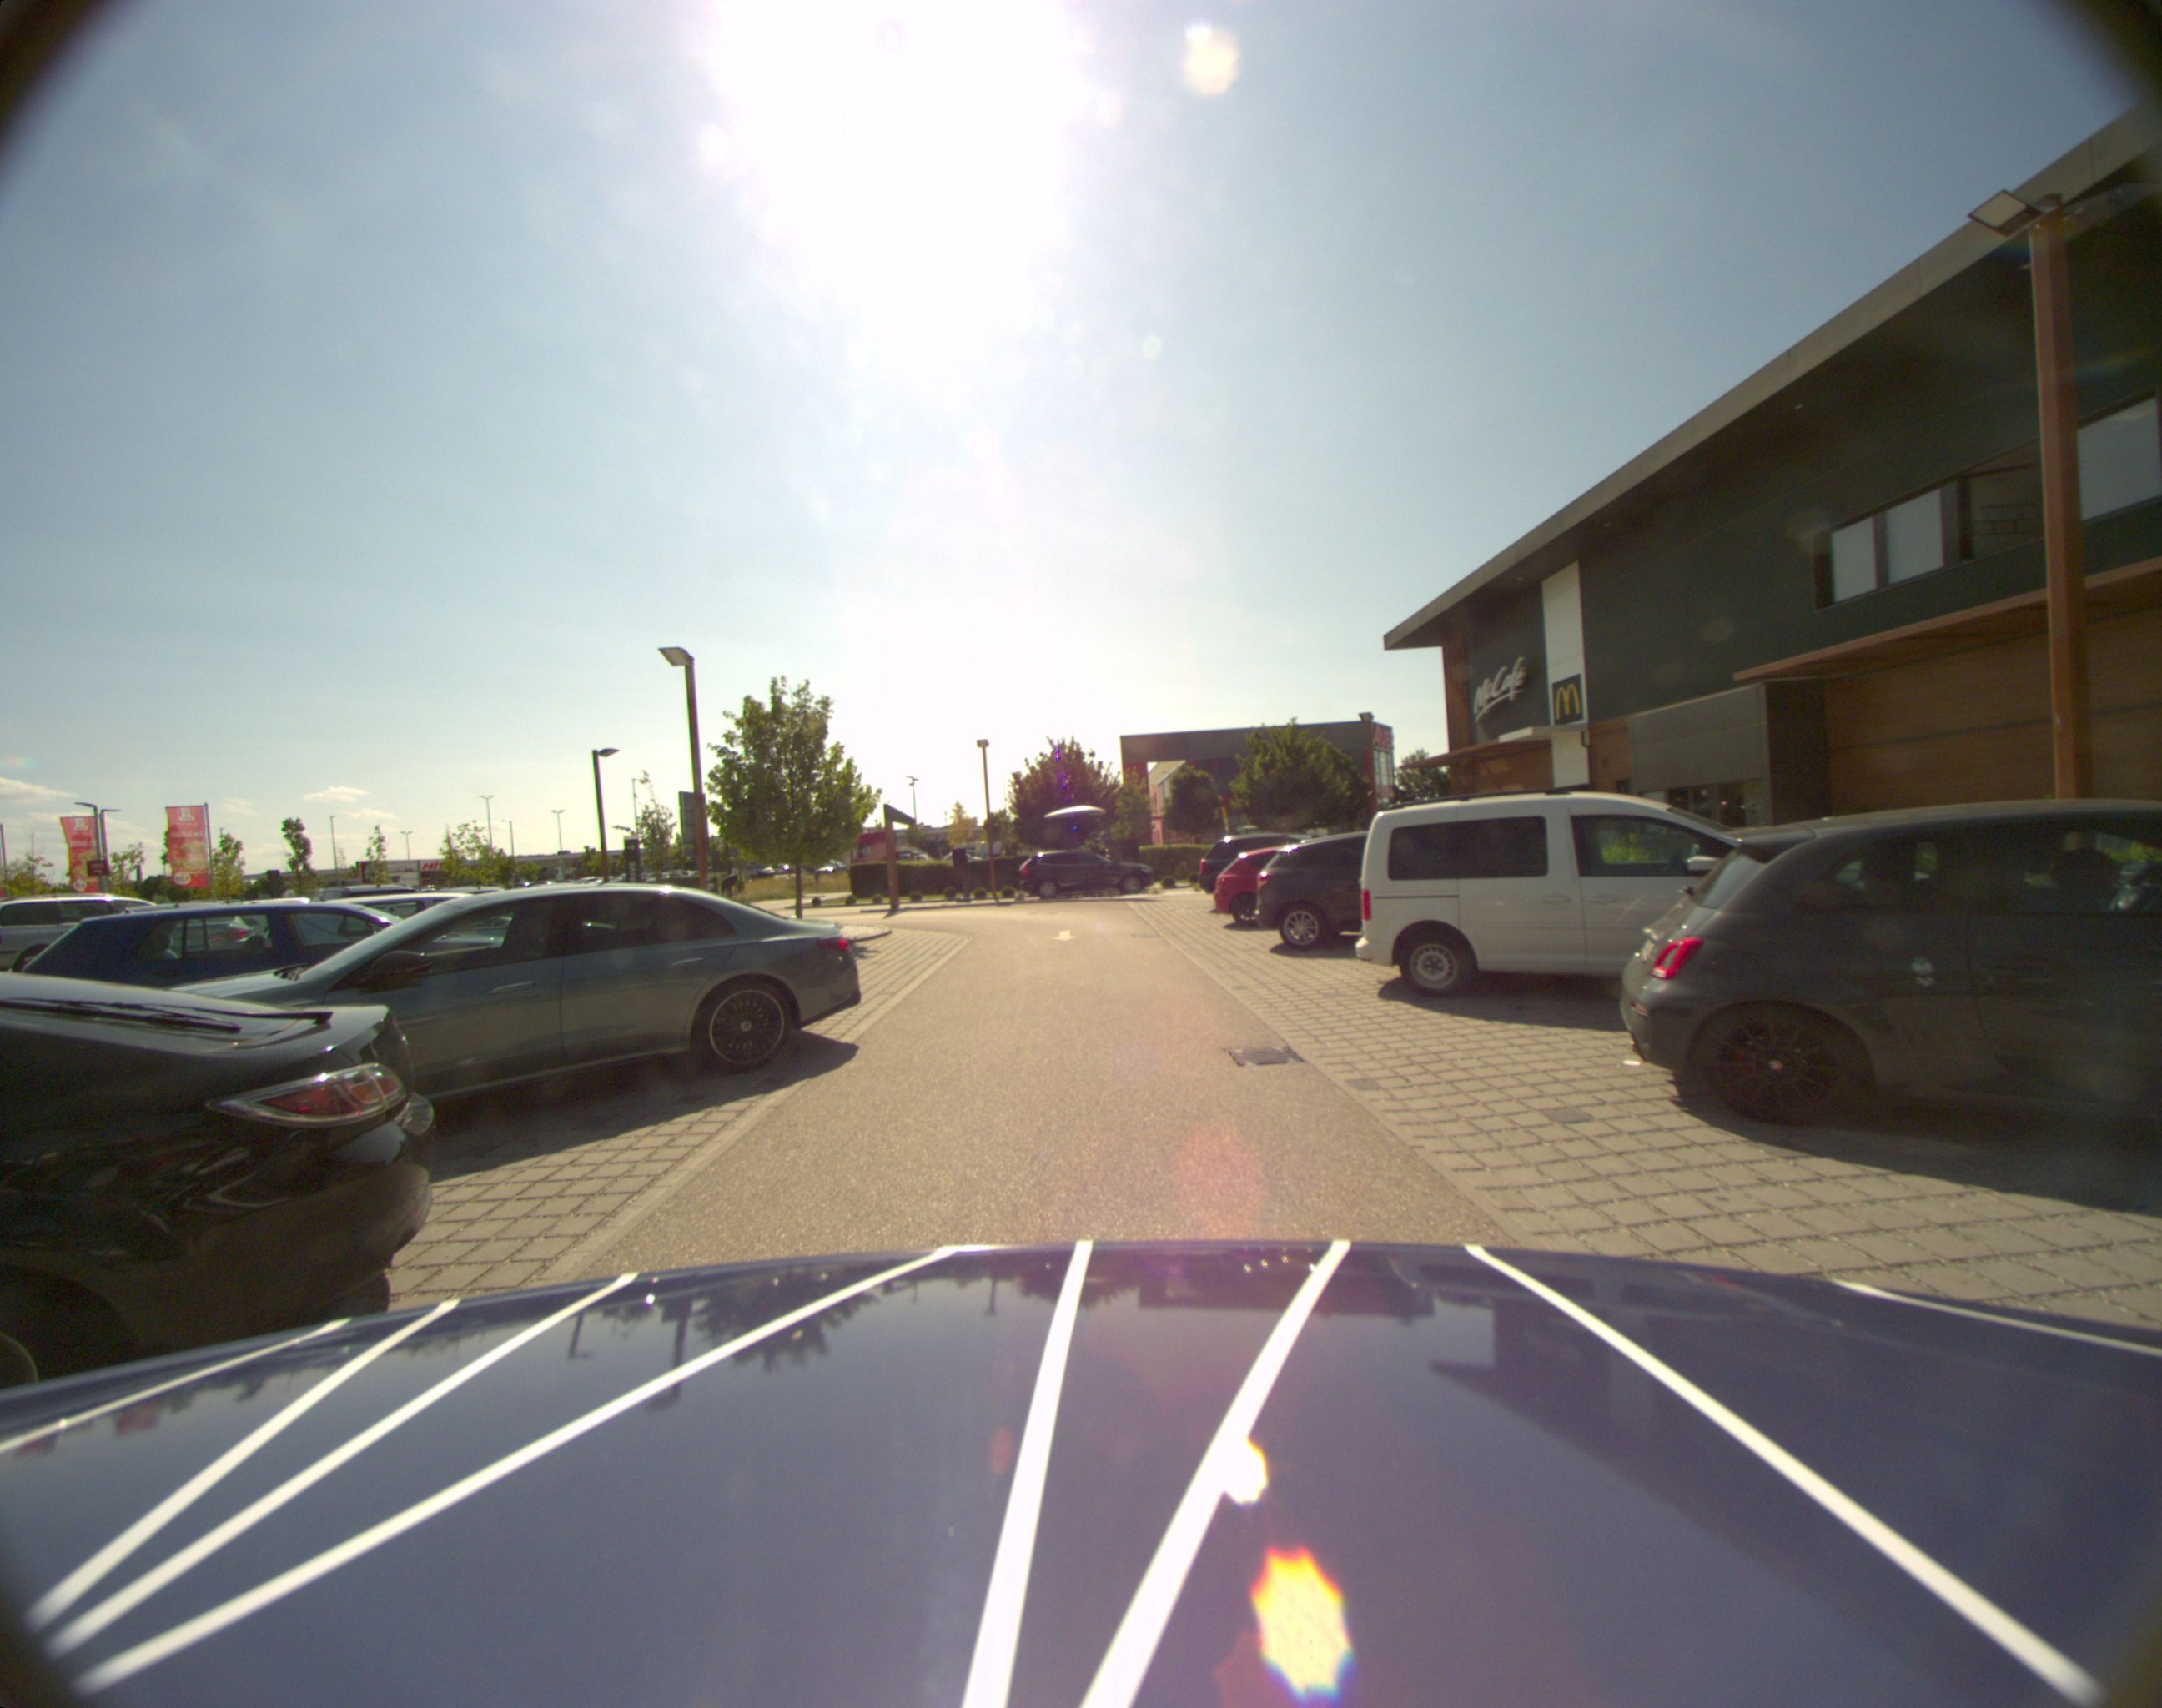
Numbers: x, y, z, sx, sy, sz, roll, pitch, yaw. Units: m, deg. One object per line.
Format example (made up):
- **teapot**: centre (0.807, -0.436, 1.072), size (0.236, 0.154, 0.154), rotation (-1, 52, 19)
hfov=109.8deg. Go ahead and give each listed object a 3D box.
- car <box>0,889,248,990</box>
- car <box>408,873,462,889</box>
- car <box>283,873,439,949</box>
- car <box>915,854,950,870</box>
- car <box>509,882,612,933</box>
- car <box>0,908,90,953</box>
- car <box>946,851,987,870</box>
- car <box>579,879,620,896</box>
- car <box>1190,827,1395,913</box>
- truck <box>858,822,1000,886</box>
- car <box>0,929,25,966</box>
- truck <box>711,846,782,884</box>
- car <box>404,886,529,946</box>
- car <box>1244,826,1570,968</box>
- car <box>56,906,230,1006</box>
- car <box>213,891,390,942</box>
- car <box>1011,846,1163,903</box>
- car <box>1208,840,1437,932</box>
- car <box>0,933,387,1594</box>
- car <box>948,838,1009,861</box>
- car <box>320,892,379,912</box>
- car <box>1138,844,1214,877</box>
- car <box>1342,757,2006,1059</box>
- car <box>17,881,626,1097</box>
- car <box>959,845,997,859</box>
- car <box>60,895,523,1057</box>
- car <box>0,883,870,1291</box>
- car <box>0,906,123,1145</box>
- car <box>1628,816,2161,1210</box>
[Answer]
- **car**: centre (-22.107, 1.822, 16.970), size (2.071, 1.740, 4.367), rotation (-3, 0, 0)
- **car**: centre (-70.466, 2.923, 82.925), size (4.003, 1.455, 1.758), rotation (-3, 1, -19)
- **car**: centre (-17.384, 1.334, 18.302), size (4.044, 1.547, 1.810), rotation (-3, 1, 34)
- **car**: centre (-18.384, 0.944, 94.168), size (1.889, 1.718, 4.264), rotation (-3, 1, 31)
- **car**: centre (-17.185, 1.728, 25.027), size (3.765, 1.414, 1.917), rotation (-3, 1, 43)
- **car**: centre (-40.094, 2.922, 28.107), size (1.685, 1.445, 3.756), rotation (-3, 0, 7)
- **car**: centre (-11.864, 0.656, 78.872), size (3.998, 1.718, 1.893), rotation (-3, 1, -5)
- **car**: centre (-50.733, 3.484, 80.099), size (1.537, 1.547, 3.225), rotation (-3, 1, 26)
- **car**: centre (4.703, 0.395, 17.137), size (4.029, 1.696, 1.678), rotation (-4, 1, 37)
- **truck**: centre (-10.491, -0.012, 53.373), size (9.124, 3.844, 3.210), rotation (-3, 1, -1)
- **car**: centre (-44.773, 3.890, 29.650), size (1.685, 1.445, 3.756), rotation (-3, 0, 7)
- **truck**: centre (-32.538, 1.099, 73.812), size (7.546, 3.333, 2.426), rotation (-2, 1, 33)
- **car**: centre (-17.671, 1.737, 21.785), size (4.076, 1.414, 1.801), rotation (-3, 1, 37)
- **car**: centre (4.454, 0.556, 10.521), size (3.834, 1.622, 1.761), rotation (-3, 1, 33)
- **car**: centre (-17.395, 1.770, 14.293), size (4.670, 1.402, 1.715), rotation (-3, 1, 42)
- **car**: centre (-28.218, 2.225, 27.725), size (1.886, 1.390, 4.157), rotation (-3, 0, 7)
- **car**: centre (0.182, 0.691, 26.660), size (5.062, 1.620, 1.924), rotation (-3, 1, -2)
- **car**: centre (4.479, 0.607, 14.155), size (3.763, 1.435, 1.678), rotation (-4, 0, 28)
- **car**: centre (-4.232, 1.149, 1.505), size (4.083, 1.440, 1.824), rotation (-4, 1, -45)
- **car**: centre (-11.681, -0.527, 86.951), size (6.568, 2.231, 2.300), rotation (-3, 1, -1)
- **car**: centre (-64.069, 4.224, 66.554), size (3.993, 1.455, 1.762), rotation (-3, 1, 13)
- **car**: centre (6.581, 0.413, 53.159), size (5.018, 2.002, 2.000), rotation (-3, 1, 1)
- **car**: centre (4.749, 0.395, 6.779), size (4.134, 1.910, 1.761), rotation (-3, 1, 39)
- **car**: centre (-7.995, 1.229, 8.635), size (4.425, 1.502, 1.978), rotation (-4, 1, -45)
- **car**: centre (-11.332, -0.201, 83.828), size (3.906, 1.334, 1.665), rotation (-3, 1, -1)
- **car**: centre (-9.914, 1.398, 9.998), size (3.910, 1.418, 1.702), rotation (-3, 0, -43)
- **car**: centre (-4.080, 1.125, 5.413), size (4.551, 1.502, 1.882), rotation (-4, 1, -45)
- **car**: centre (-9.116, 1.260, 4.230), size (4.425, 1.502, 1.978), rotation (-4, 1, -45)
- **car**: centre (4.649, 0.596, 3.485), size (3.406, 1.473, 1.571), rotation (-4, 0, 36)
